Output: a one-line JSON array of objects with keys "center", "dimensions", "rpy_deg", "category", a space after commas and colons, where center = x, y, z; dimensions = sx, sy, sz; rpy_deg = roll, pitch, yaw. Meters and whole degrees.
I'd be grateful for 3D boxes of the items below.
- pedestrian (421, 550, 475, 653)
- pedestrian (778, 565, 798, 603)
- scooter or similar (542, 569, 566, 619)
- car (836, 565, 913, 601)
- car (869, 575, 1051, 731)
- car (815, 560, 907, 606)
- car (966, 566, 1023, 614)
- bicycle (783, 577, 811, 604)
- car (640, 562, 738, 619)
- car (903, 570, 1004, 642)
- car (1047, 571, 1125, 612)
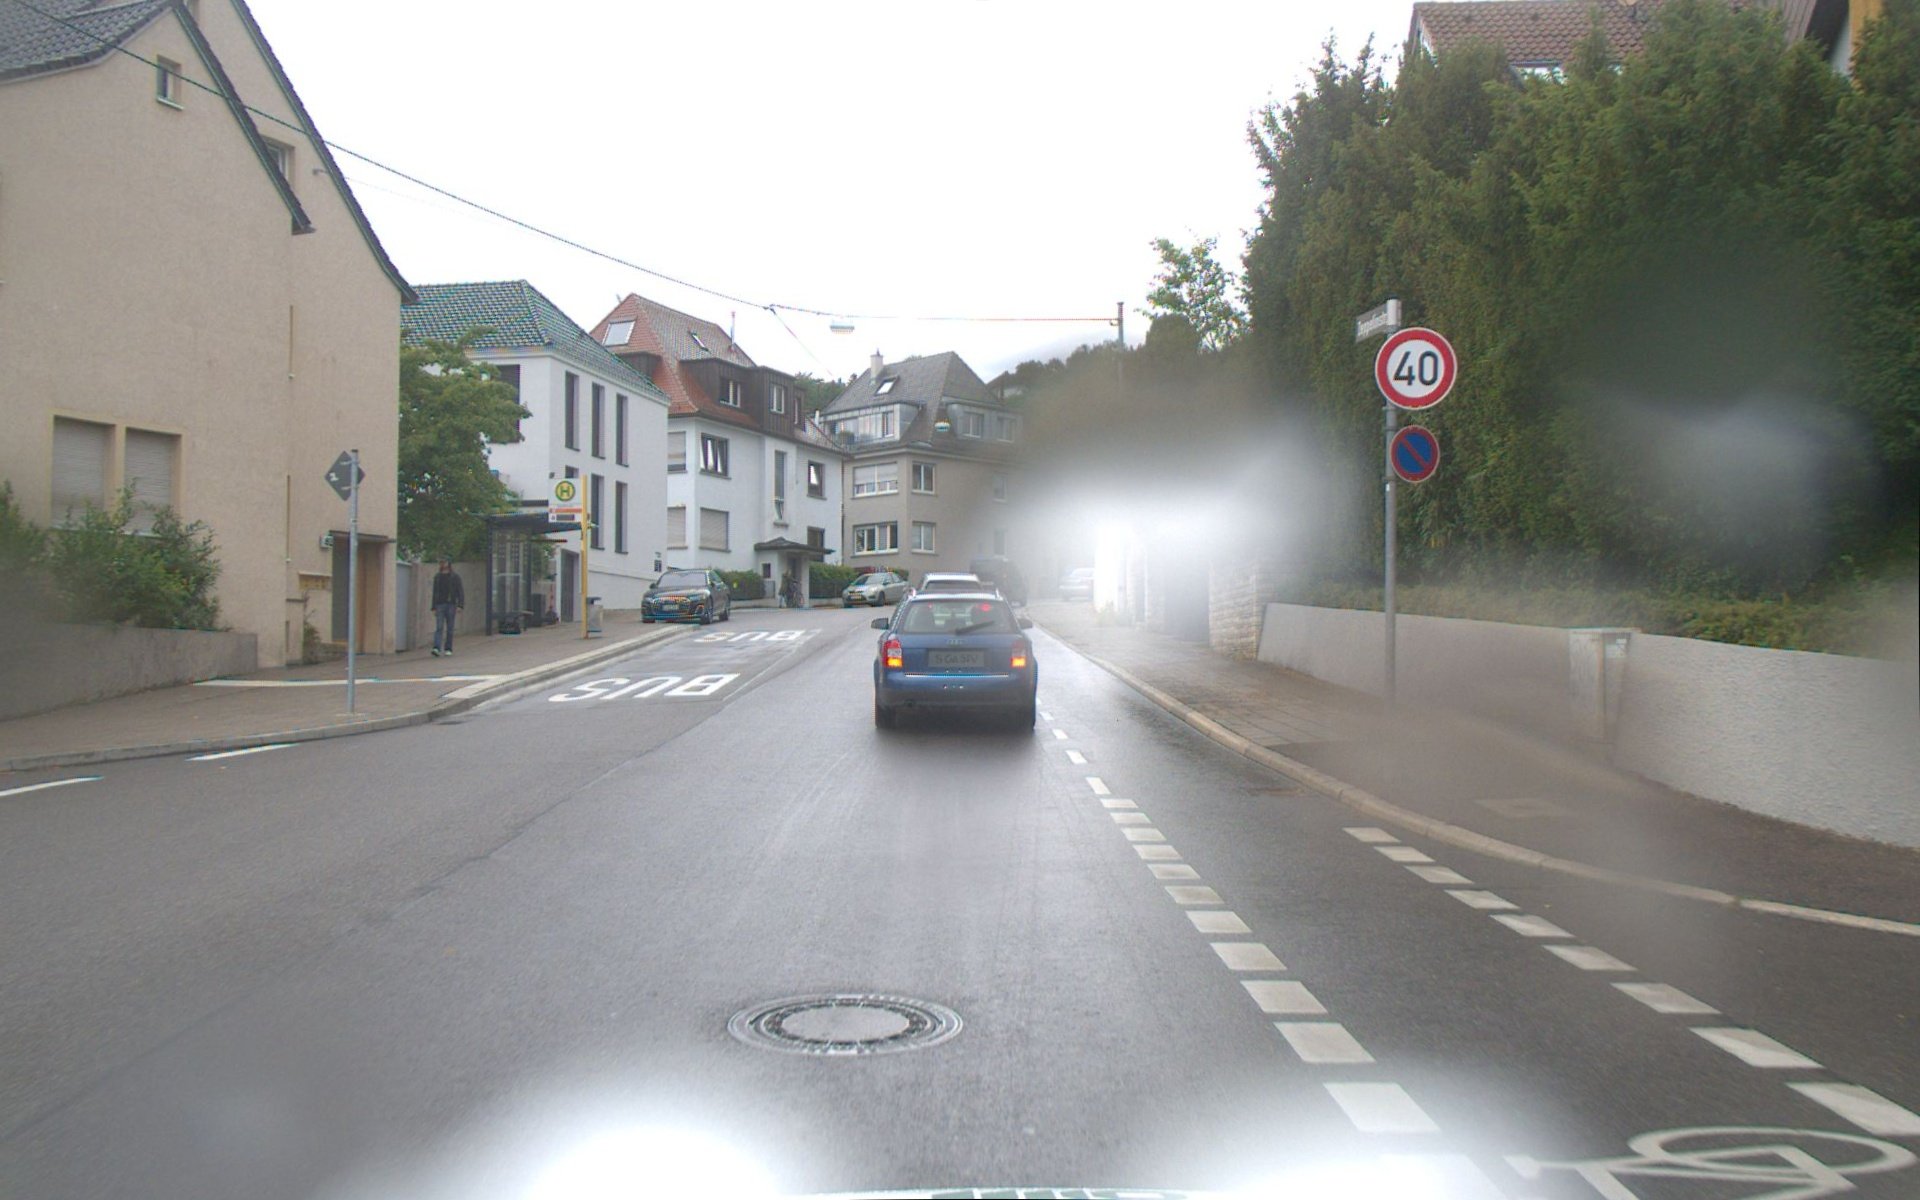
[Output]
[{"center": [-9.560, 0.021, 30.894], "dimensions": [0.770, 1.889, 0.728], "rpy_deg": [1, 0, -1], "category": "pedestrian"}, {"center": [-7.242, -0.685, 69.650], "dimensions": [0.482, 1.604, 0.948], "rpy_deg": [0, 1, 17], "category": "pedestrian"}, {"center": [-10.323, -0.167, 42.028], "dimensions": [0.330, 1.241, 1.123], "rpy_deg": [0, 1, 0], "category": "scooter or similar"}, {"center": [-3.699, -0.760, 72.389], "dimensions": [1.798, 1.450, 4.230], "rpy_deg": [-2, 0, 21], "category": "car"}, {"center": [-0.010, 0.498, 18.430], "dimensions": [1.774, 1.464, 4.082], "rpy_deg": [1, 1, 0], "category": "car"}, {"center": [-4.875, -0.831, 81.421], "dimensions": [3.910, 1.854, 1.998], "rpy_deg": [-6, -1, 27], "category": "car"}, {"center": [1.345, -0.380, 63.069], "dimensions": [1.887, 1.735, 4.003], "rpy_deg": [1, 1, 5], "category": "car"}, {"center": [-6.834, -0.402, 69.520], "dimensions": [0.446, 1.085, 1.923], "rpy_deg": [0, 1, 17], "category": "bicycle"}, {"center": [-7.651, -0.285, 47.101], "dimensions": [1.791, 1.511, 4.993], "rpy_deg": [-1, 1, 2], "category": "car"}, {"center": [-0.189, 0.127, 34.669], "dimensions": [1.776, 1.384, 3.996], "rpy_deg": [1, 0, -5], "category": "car"}, {"center": [5.672, -0.409, 73.971], "dimensions": [1.892, 1.735, 3.992], "rpy_deg": [-1, 1, 31], "category": "car"}]
